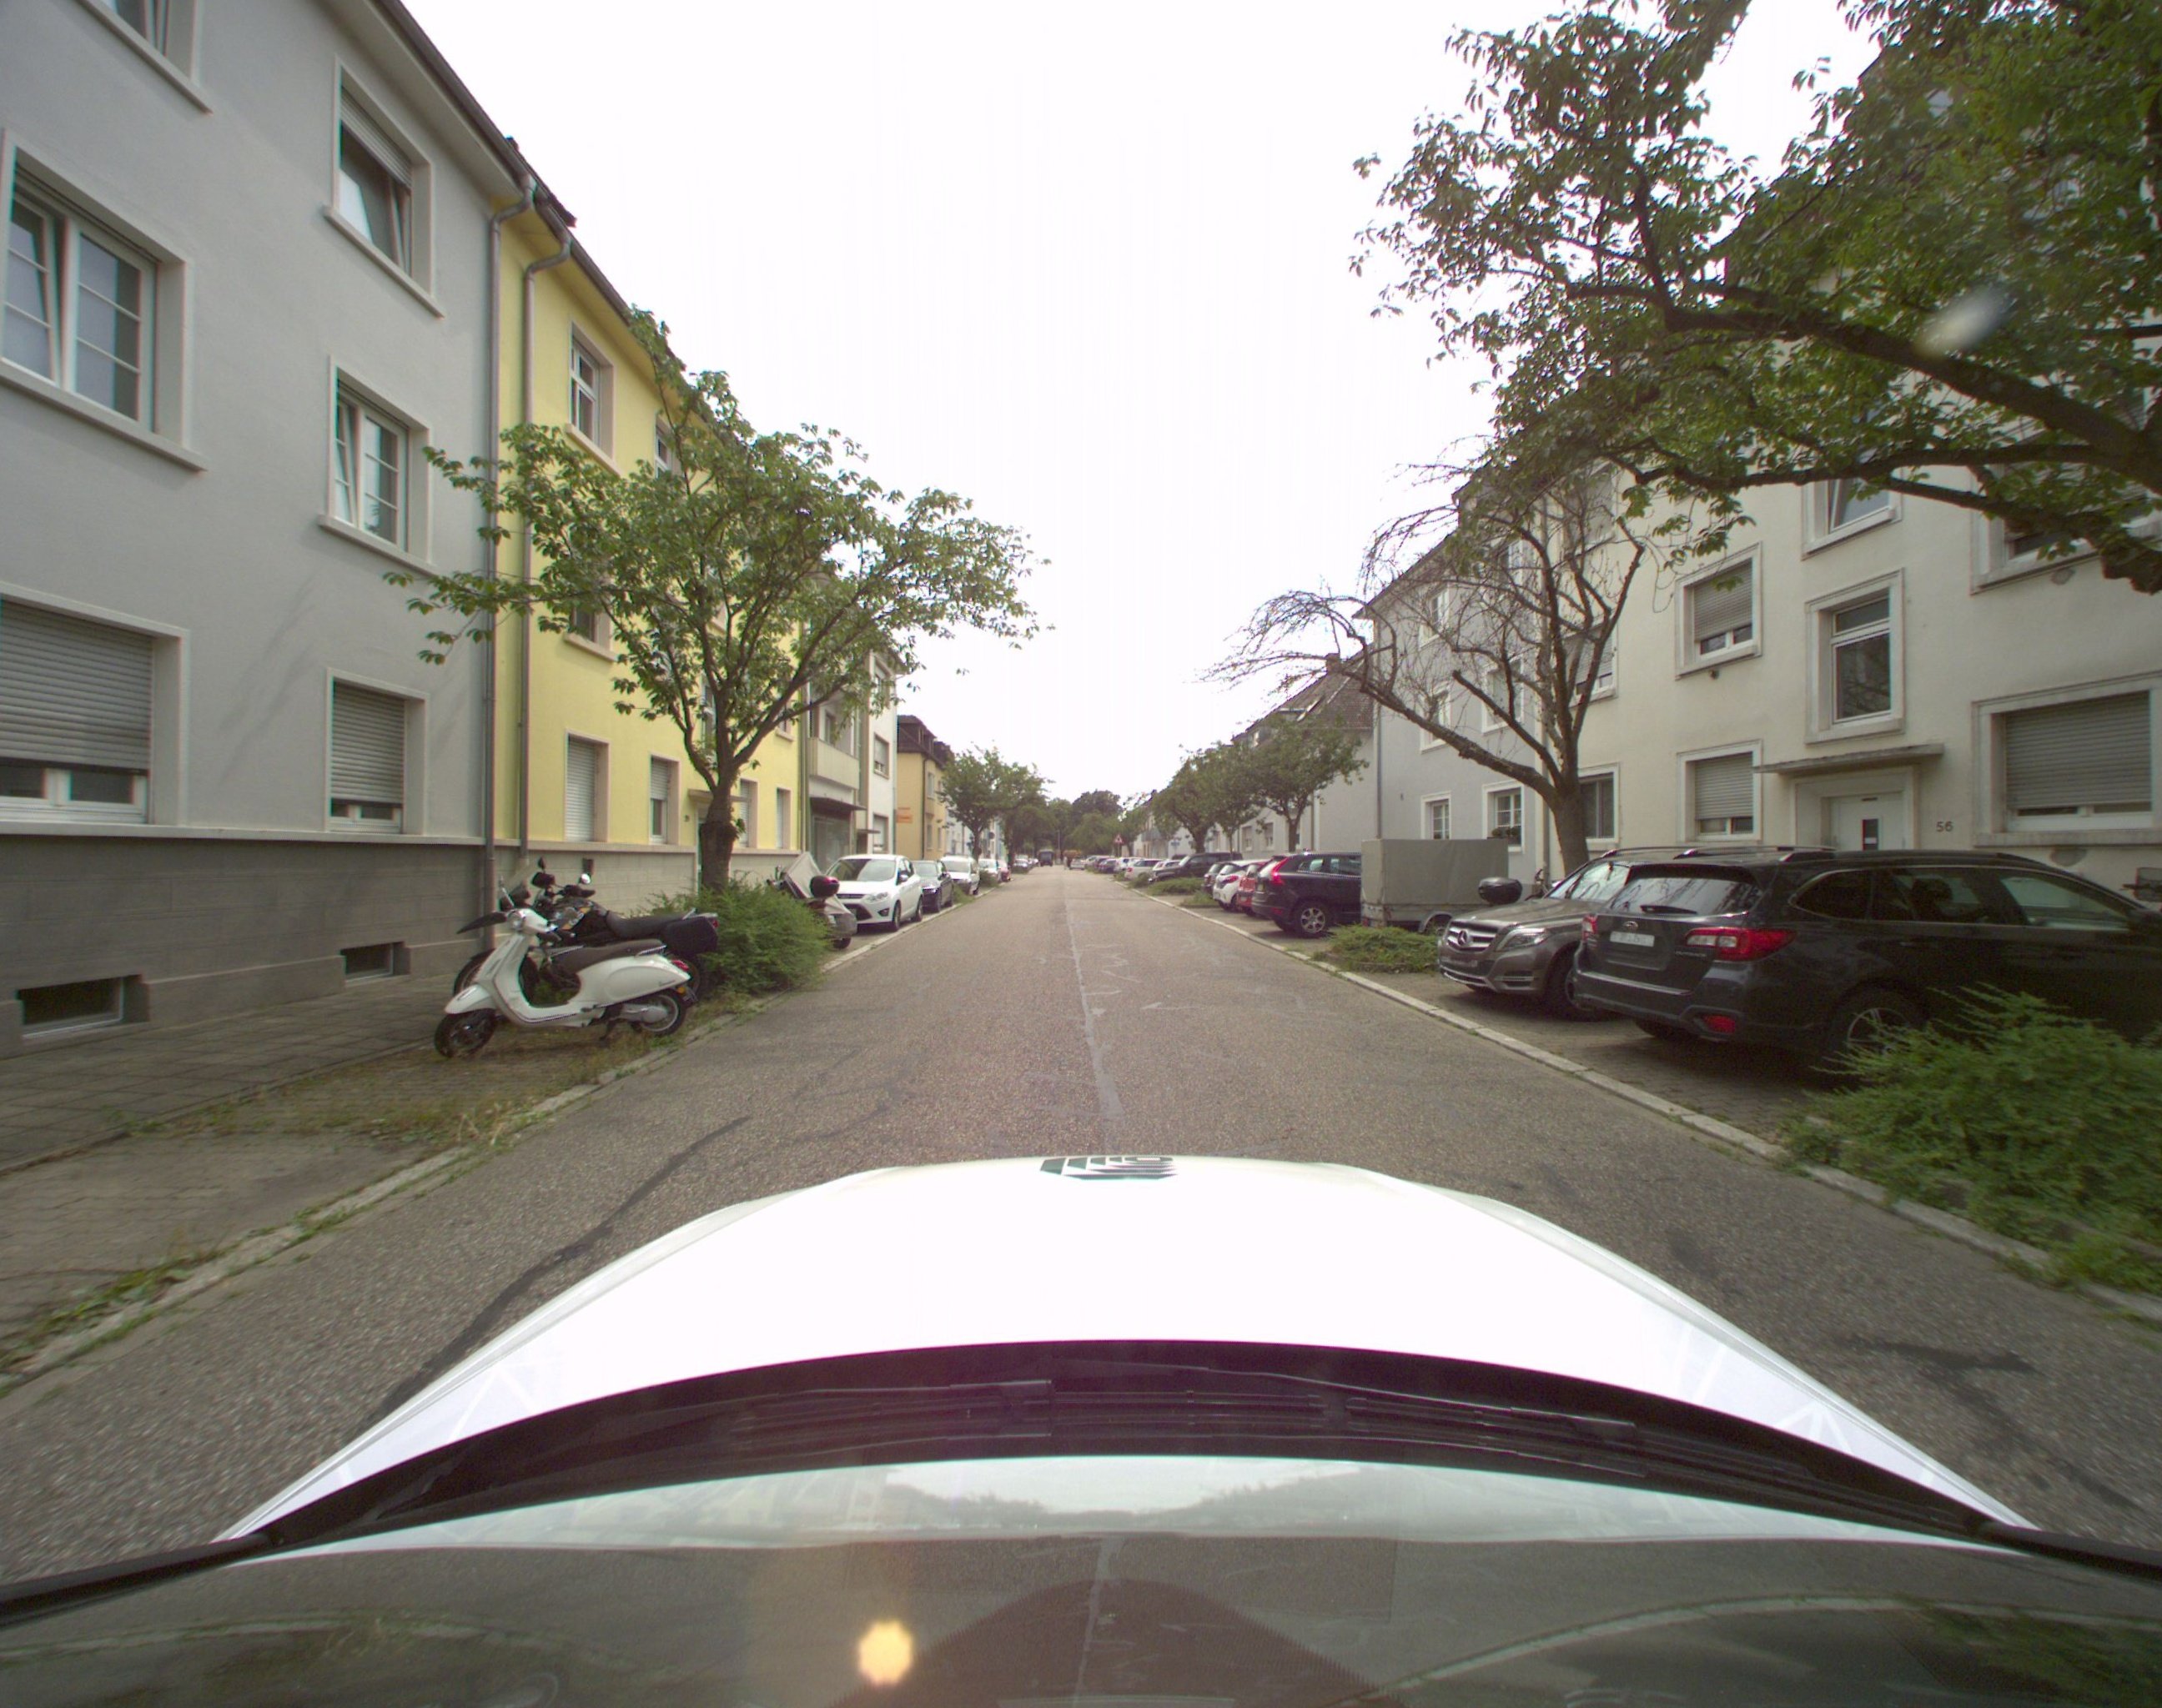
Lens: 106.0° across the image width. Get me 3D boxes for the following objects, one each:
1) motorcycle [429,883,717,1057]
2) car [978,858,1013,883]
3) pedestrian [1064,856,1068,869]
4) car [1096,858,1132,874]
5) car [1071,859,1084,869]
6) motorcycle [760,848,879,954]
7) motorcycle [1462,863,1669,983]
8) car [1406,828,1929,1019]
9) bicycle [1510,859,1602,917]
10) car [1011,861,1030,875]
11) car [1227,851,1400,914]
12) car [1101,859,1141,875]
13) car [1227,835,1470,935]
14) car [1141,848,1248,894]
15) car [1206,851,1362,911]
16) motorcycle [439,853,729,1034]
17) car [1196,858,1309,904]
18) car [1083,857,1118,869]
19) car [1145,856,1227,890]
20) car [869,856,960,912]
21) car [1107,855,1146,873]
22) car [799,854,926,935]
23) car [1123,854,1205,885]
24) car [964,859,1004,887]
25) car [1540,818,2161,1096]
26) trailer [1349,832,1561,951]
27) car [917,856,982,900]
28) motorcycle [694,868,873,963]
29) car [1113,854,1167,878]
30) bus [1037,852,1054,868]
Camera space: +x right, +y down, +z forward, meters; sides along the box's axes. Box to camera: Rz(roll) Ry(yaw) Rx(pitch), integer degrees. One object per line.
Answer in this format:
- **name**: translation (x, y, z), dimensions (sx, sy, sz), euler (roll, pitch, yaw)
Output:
- **motorcycle**: translation (-4.102, 0.880, 6.742), dimensions (1.917, 1.192, 0.591), euler (-2, -1, -29)
- **car**: translation (-5.568, 1.060, 53.440), dimensions (1.872, 1.486, 4.509), euler (-2, -1, -2)
- **pedestrian**: translation (-1.976, 1.128, 108.485), dimensions (0.520, 1.704, 0.445), euler (-2, -1, 1)
- **car**: translation (3.531, 1.295, 87.885), dimensions (3.737, 1.564, 1.772), euler (-2, -1, -1)
- **car**: translation (-0.455, 1.323, 109.302), dimensions (1.682, 1.354, 3.825), euler (-2, -1, -1)
- **motorcycle**: translation (-4.552, 0.747, 14.065), dimensions (2.443, 1.676, 0.944), euler (-1, -1, 45)
- **motorcycle**: translation (6.026, 0.832, 10.189), dimensions (2.221, 1.409, 0.714), euler (0, -1, -5)
- **car**: translation (5.919, 0.644, 8.567), dimensions (4.207, 1.598, 1.901), euler (-2, -1, -5)
- **bicycle**: translation (9.751, 0.666, 16.818), dimensions (0.684, 1.097, 2.005), euler (-2, -1, 0)
- **car**: translation (-6.814, 1.556, 91.855), dimensions (1.757, 1.554, 3.732), euler (-2, -1, 2)
- **car**: translation (6.015, 0.722, 21.332), dimensions (3.980, 1.410, 1.765), euler (-2, -1, -5)
- **car**: translation (3.787, 1.216, 77.553), dimensions (3.737, 1.365, 1.772), euler (-2, -1, -1)
- **car**: translation (5.224, 0.593, 16.341), dimensions (4.201, 1.736, 1.903), euler (-2, -1, 0)
- **car**: translation (5.054, 0.743, 36.598), dimensions (4.510, 1.858, 1.793), euler (-2, -1, 0)
- **car**: translation (5.799, 0.753, 23.555), dimensions (3.980, 1.530, 1.765), euler (-2, -1, -5)
- **motorcycle**: translation (-4.618, 0.770, 7.759), dimensions (2.245, 1.481, 0.591), euler (-2, -1, -29)
- **car**: translation (6.003, 0.937, 28.800), dimensions (3.535, 1.453, 1.807), euler (-2, -1, -3)
- **car**: translation (2.799, 1.366, 117.703), dimensions (4.965, 1.518, 1.766), euler (-2, -1, -4)
- **car**: translation (5.073, 0.894, 39.531), dimensions (3.620, 1.454, 1.769), euler (-2, -1, -6)
- **car**: translation (-4.825, 0.853, 24.274), dimensions (1.785, 1.492, 4.809), euler (0, -1, -1)
- **car**: translation (4.463, 0.963, 80.436), dimensions (3.737, 1.564, 1.772), euler (-2, -1, -1)
- **car**: translation (-4.637, 0.809, 17.923), dimensions (1.752, 1.556, 4.252), euler (-1, -1, -2)
- **car**: translation (4.842, 0.903, 47.958), dimensions (4.601, 1.664, 1.891), euler (-2, -1, -1)
- **car**: translation (-5.661, 1.091, 48.030), dimensions (1.766, 1.392, 4.273), euler (5, -1, -1)
- **car**: translation (6.073, 0.613, 6.116), dimensions (4.207, 1.598, 1.901), euler (-2, -1, -4)
- **trailer**: translation (6.347, 0.619, 14.017), dimensions (2.950, 1.831, 1.401), euler (-2, -1, 1)
- **car**: translation (-5.186, 0.909, 32.727), dimensions (1.913, 1.581, 4.379), euler (-2, -1, -1)
- **motorcycle**: translation (-4.510, 0.916, 12.448), dimensions (2.442, 1.311, 0.643), euler (-2, -1, -2)
- **car**: translation (4.438, 0.904, 61.937), dimensions (3.912, 1.633, 1.867), euler (-2, -1, -1)
- **bus**: translation (-6.429, 1.168, 148.769), dimensions (2.996, 2.761, 8.916), euler (-2, -1, -2)
